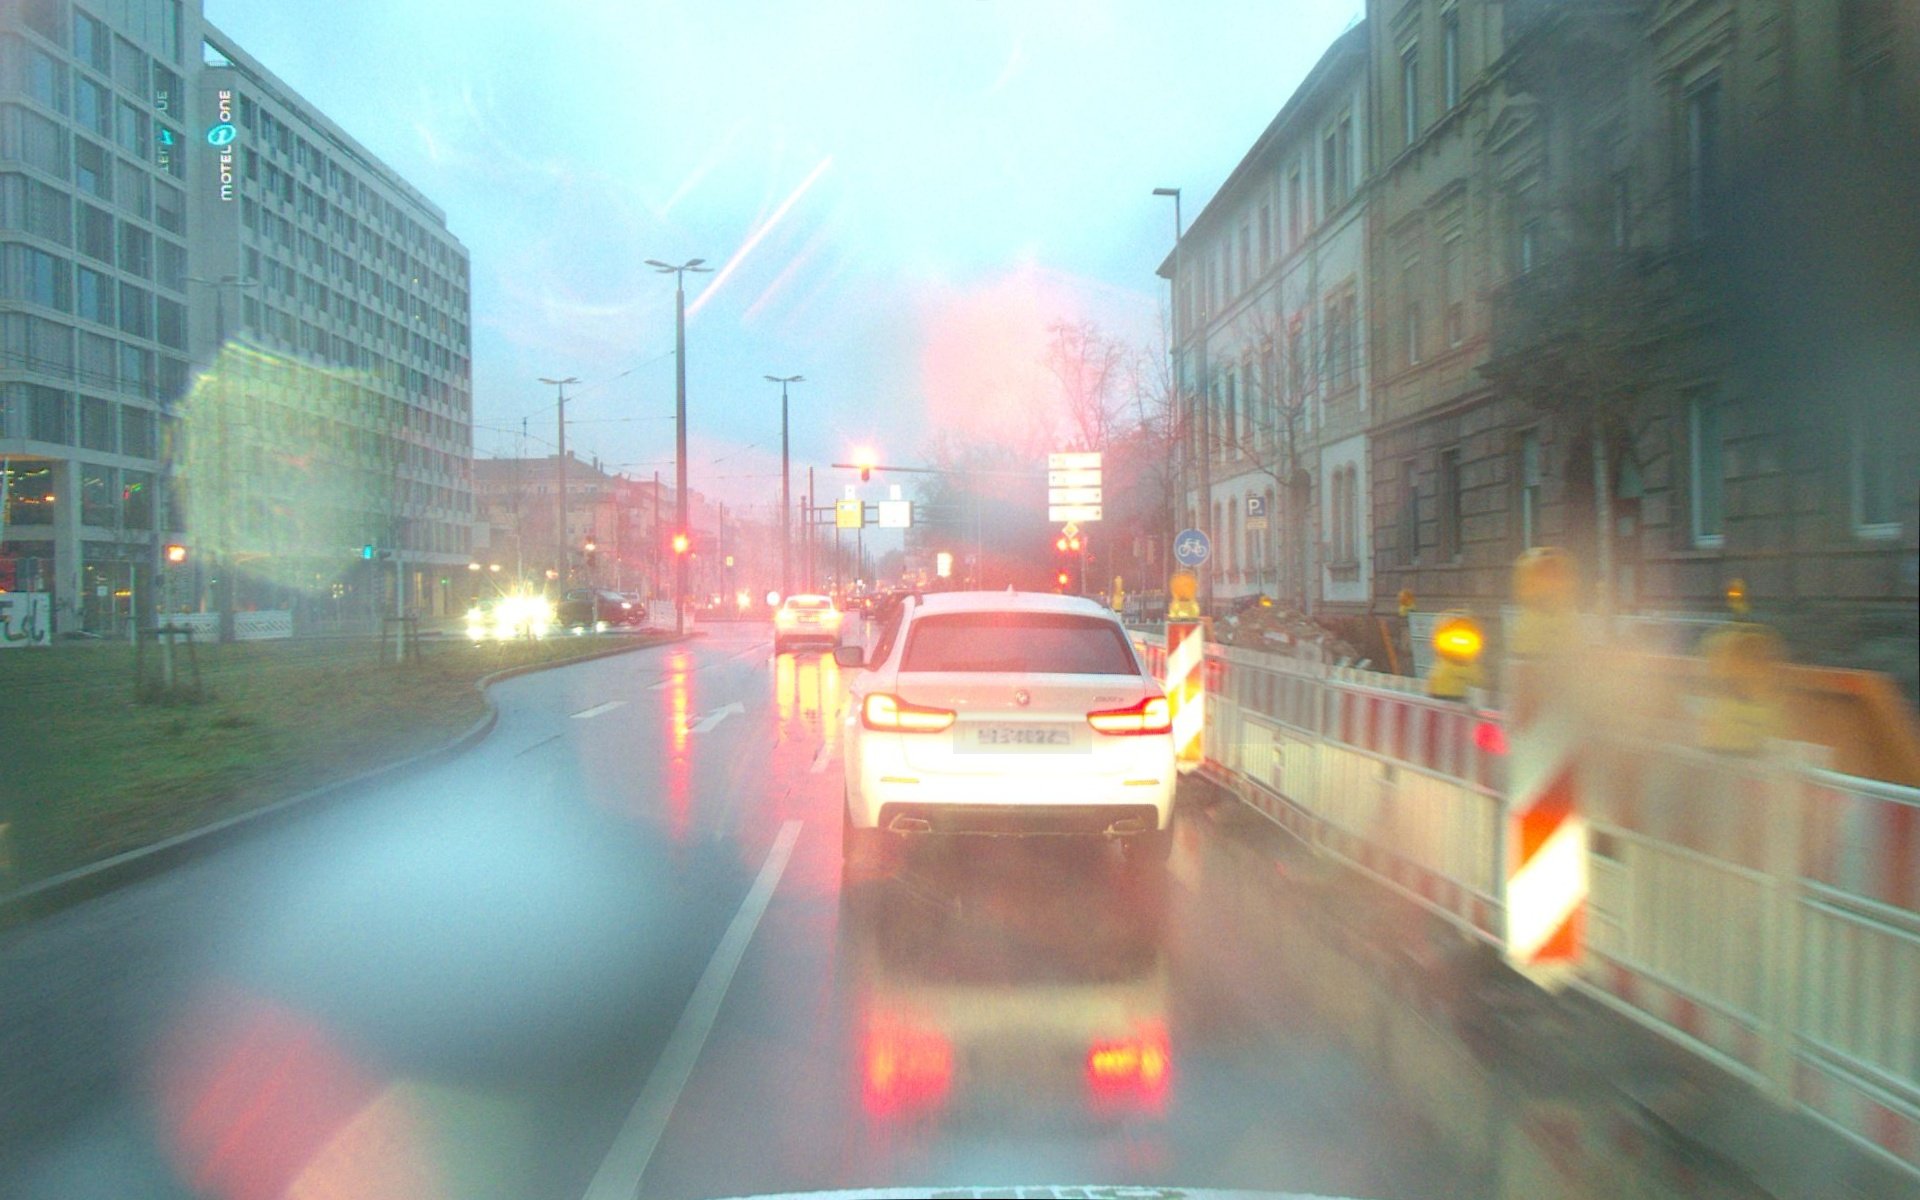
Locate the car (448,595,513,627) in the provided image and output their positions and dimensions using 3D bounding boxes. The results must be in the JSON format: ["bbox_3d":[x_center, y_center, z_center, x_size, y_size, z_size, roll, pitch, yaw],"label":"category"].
[{"bbox_3d":[-23.551,0.522,81.190,1.730,1.518,3.488,0,0,-42],"label":"car"}]

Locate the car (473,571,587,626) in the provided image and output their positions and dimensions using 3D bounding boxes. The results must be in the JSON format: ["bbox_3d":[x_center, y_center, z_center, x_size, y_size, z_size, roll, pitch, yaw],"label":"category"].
[{"bbox_3d":[-15.987,-0.051,61.496,3.929,2.009,1.988,0,0,-21],"label":"car"}]

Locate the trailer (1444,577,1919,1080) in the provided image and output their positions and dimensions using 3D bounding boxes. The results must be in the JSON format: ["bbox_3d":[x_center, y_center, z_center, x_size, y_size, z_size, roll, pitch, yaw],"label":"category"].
[{"bbox_3d":[3.739,0.667,7.046,1.798,1.516,4.846,0,1,-2],"label":"trailer"}]

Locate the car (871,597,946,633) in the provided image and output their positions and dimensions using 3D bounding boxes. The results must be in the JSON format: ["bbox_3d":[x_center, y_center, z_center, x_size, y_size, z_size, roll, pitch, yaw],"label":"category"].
[{"bbox_3d":[-2.558,0.727,80.916,1.884,1.670,3.953,0,0,-34],"label":"car"}]

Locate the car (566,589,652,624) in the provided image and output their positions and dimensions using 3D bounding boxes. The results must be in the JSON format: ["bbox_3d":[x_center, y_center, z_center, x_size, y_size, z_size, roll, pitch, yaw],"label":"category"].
[{"bbox_3d":[-16.098,0.286,75.858,3.455,1.518,1.746,1,0,11],"label":"car"}]

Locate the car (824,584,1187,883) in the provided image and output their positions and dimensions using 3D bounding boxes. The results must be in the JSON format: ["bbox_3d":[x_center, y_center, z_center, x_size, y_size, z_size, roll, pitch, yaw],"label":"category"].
[{"bbox_3d":[0.129,0.657,10.764,1.815,1.491,4.944,0,0,-2],"label":"car"}]

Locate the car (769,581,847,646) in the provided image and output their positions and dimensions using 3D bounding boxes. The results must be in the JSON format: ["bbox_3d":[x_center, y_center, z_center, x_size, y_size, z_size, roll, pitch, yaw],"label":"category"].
[{"bbox_3d":[-4.076,0.346,44.851,1.862,1.670,3.999,0,0,-2],"label":"car"}]

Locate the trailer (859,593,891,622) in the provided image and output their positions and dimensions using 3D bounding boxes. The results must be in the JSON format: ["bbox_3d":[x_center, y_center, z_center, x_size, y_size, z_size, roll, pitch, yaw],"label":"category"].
[{"bbox_3d":[-5.055,0.413,97.600,1.798,1.672,3.997,0,0,-4],"label":"trailer"}]

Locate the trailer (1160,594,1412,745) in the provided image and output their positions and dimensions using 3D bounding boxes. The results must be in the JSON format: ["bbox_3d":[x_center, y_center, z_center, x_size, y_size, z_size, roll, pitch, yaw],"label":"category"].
[{"bbox_3d":[3.258,0.641,17.187,1.813,1.369,3.527,0,1,-2],"label":"trailer"}]

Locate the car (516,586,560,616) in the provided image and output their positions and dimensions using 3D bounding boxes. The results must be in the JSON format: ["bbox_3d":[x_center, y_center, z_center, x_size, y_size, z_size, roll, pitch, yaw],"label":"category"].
[{"bbox_3d":[-23.702,0.032,92.968,1.822,1.668,4.027,0,0,-6],"label":"car"}]
